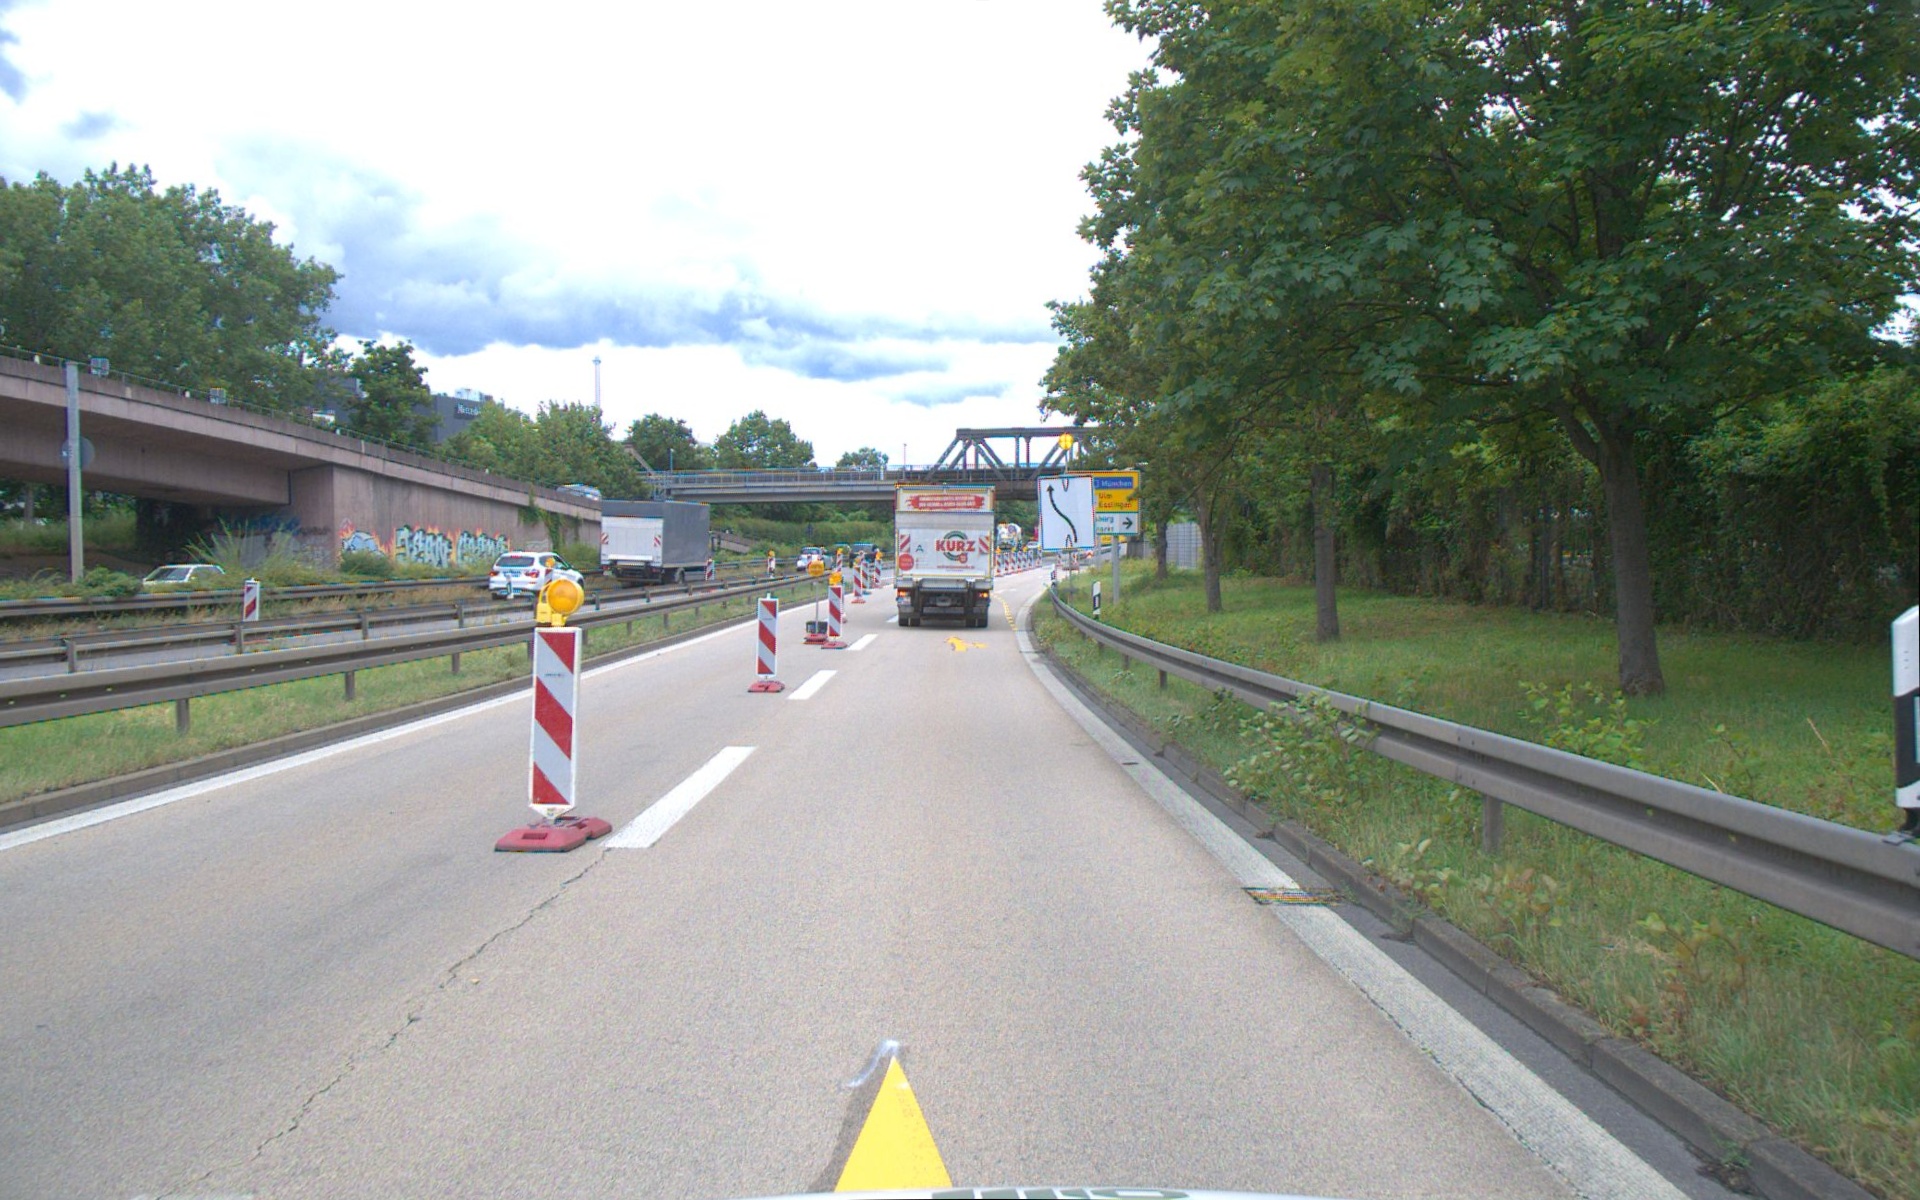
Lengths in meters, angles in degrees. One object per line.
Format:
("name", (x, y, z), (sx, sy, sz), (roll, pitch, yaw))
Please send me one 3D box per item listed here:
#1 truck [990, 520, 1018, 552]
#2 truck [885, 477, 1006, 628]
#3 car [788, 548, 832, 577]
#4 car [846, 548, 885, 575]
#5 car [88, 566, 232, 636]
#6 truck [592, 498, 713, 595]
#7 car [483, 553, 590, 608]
("truck", (5.645, -8.100, 209.643), (3.217, 3.919, 7.669), (0, 1, 4))
("truck", (-0.291, -1.226, 44.802), (2.988, 3.737, 7.929), (0, 1, 1))
("car", (-8.907, -2.228, 98.459), (1.952, 1.646, 4.002), (0, 1, 4))
("car", (-5.829, -2.386, 102.327), (1.952, 1.646, 4.002), (0, 1, 4))
("car", (-24.516, -0.013, 50.849), (1.951, 2.048, 4.004), (0, 1, 11))
("truck", (-12.373, -2.128, 67.224), (2.986, 3.720, 7.400), (0, 1, 5))
("car", (-13.857, -0.651, 54.362), (1.951, 1.742, 4.105), (0, 1, 8))
